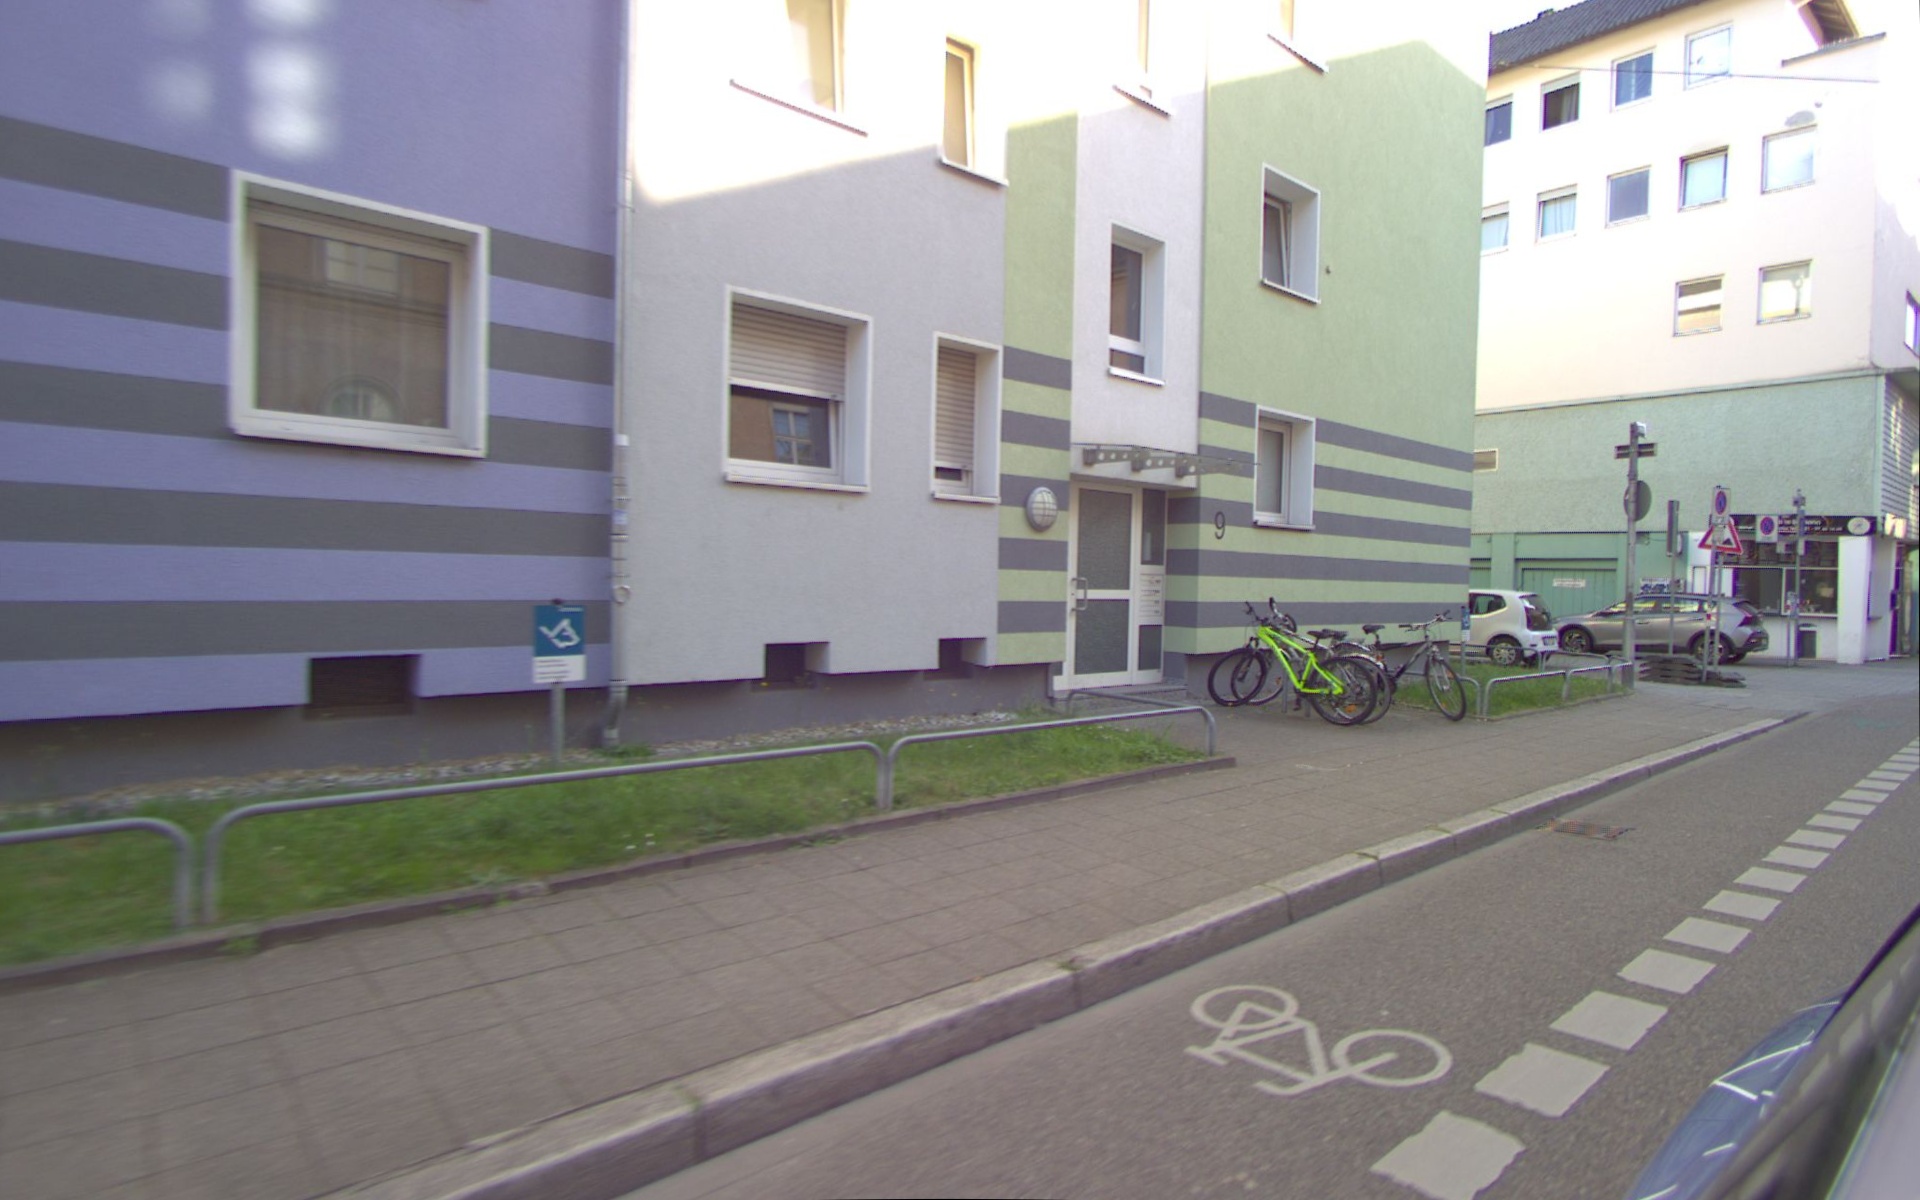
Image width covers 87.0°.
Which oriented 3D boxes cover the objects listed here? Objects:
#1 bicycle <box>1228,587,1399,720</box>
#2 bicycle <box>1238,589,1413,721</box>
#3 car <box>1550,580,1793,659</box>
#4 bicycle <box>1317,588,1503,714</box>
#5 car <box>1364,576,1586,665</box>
[{"bbox_3d":[3.548,0.505,10.270,1.602,1.155,0.234,6,4,41],"label":"bicycle"},{"bbox_3d":[3.741,0.527,10.467,1.640,1.155,0.279,6,4,41],"label":"bicycle"},{"bbox_3d":[15.721,0.357,22.524,1.833,1.500,4.087,-1,2,-40],"label":"car"},{"bbox_3d":[4.933,0.514,11.200,0.542,1.155,1.753,1,4,-41],"label":"bicycle"},{"bbox_3d":[10.189,0.326,20.196,1.679,1.500,3.554,0,3,-39],"label":"car"}]
